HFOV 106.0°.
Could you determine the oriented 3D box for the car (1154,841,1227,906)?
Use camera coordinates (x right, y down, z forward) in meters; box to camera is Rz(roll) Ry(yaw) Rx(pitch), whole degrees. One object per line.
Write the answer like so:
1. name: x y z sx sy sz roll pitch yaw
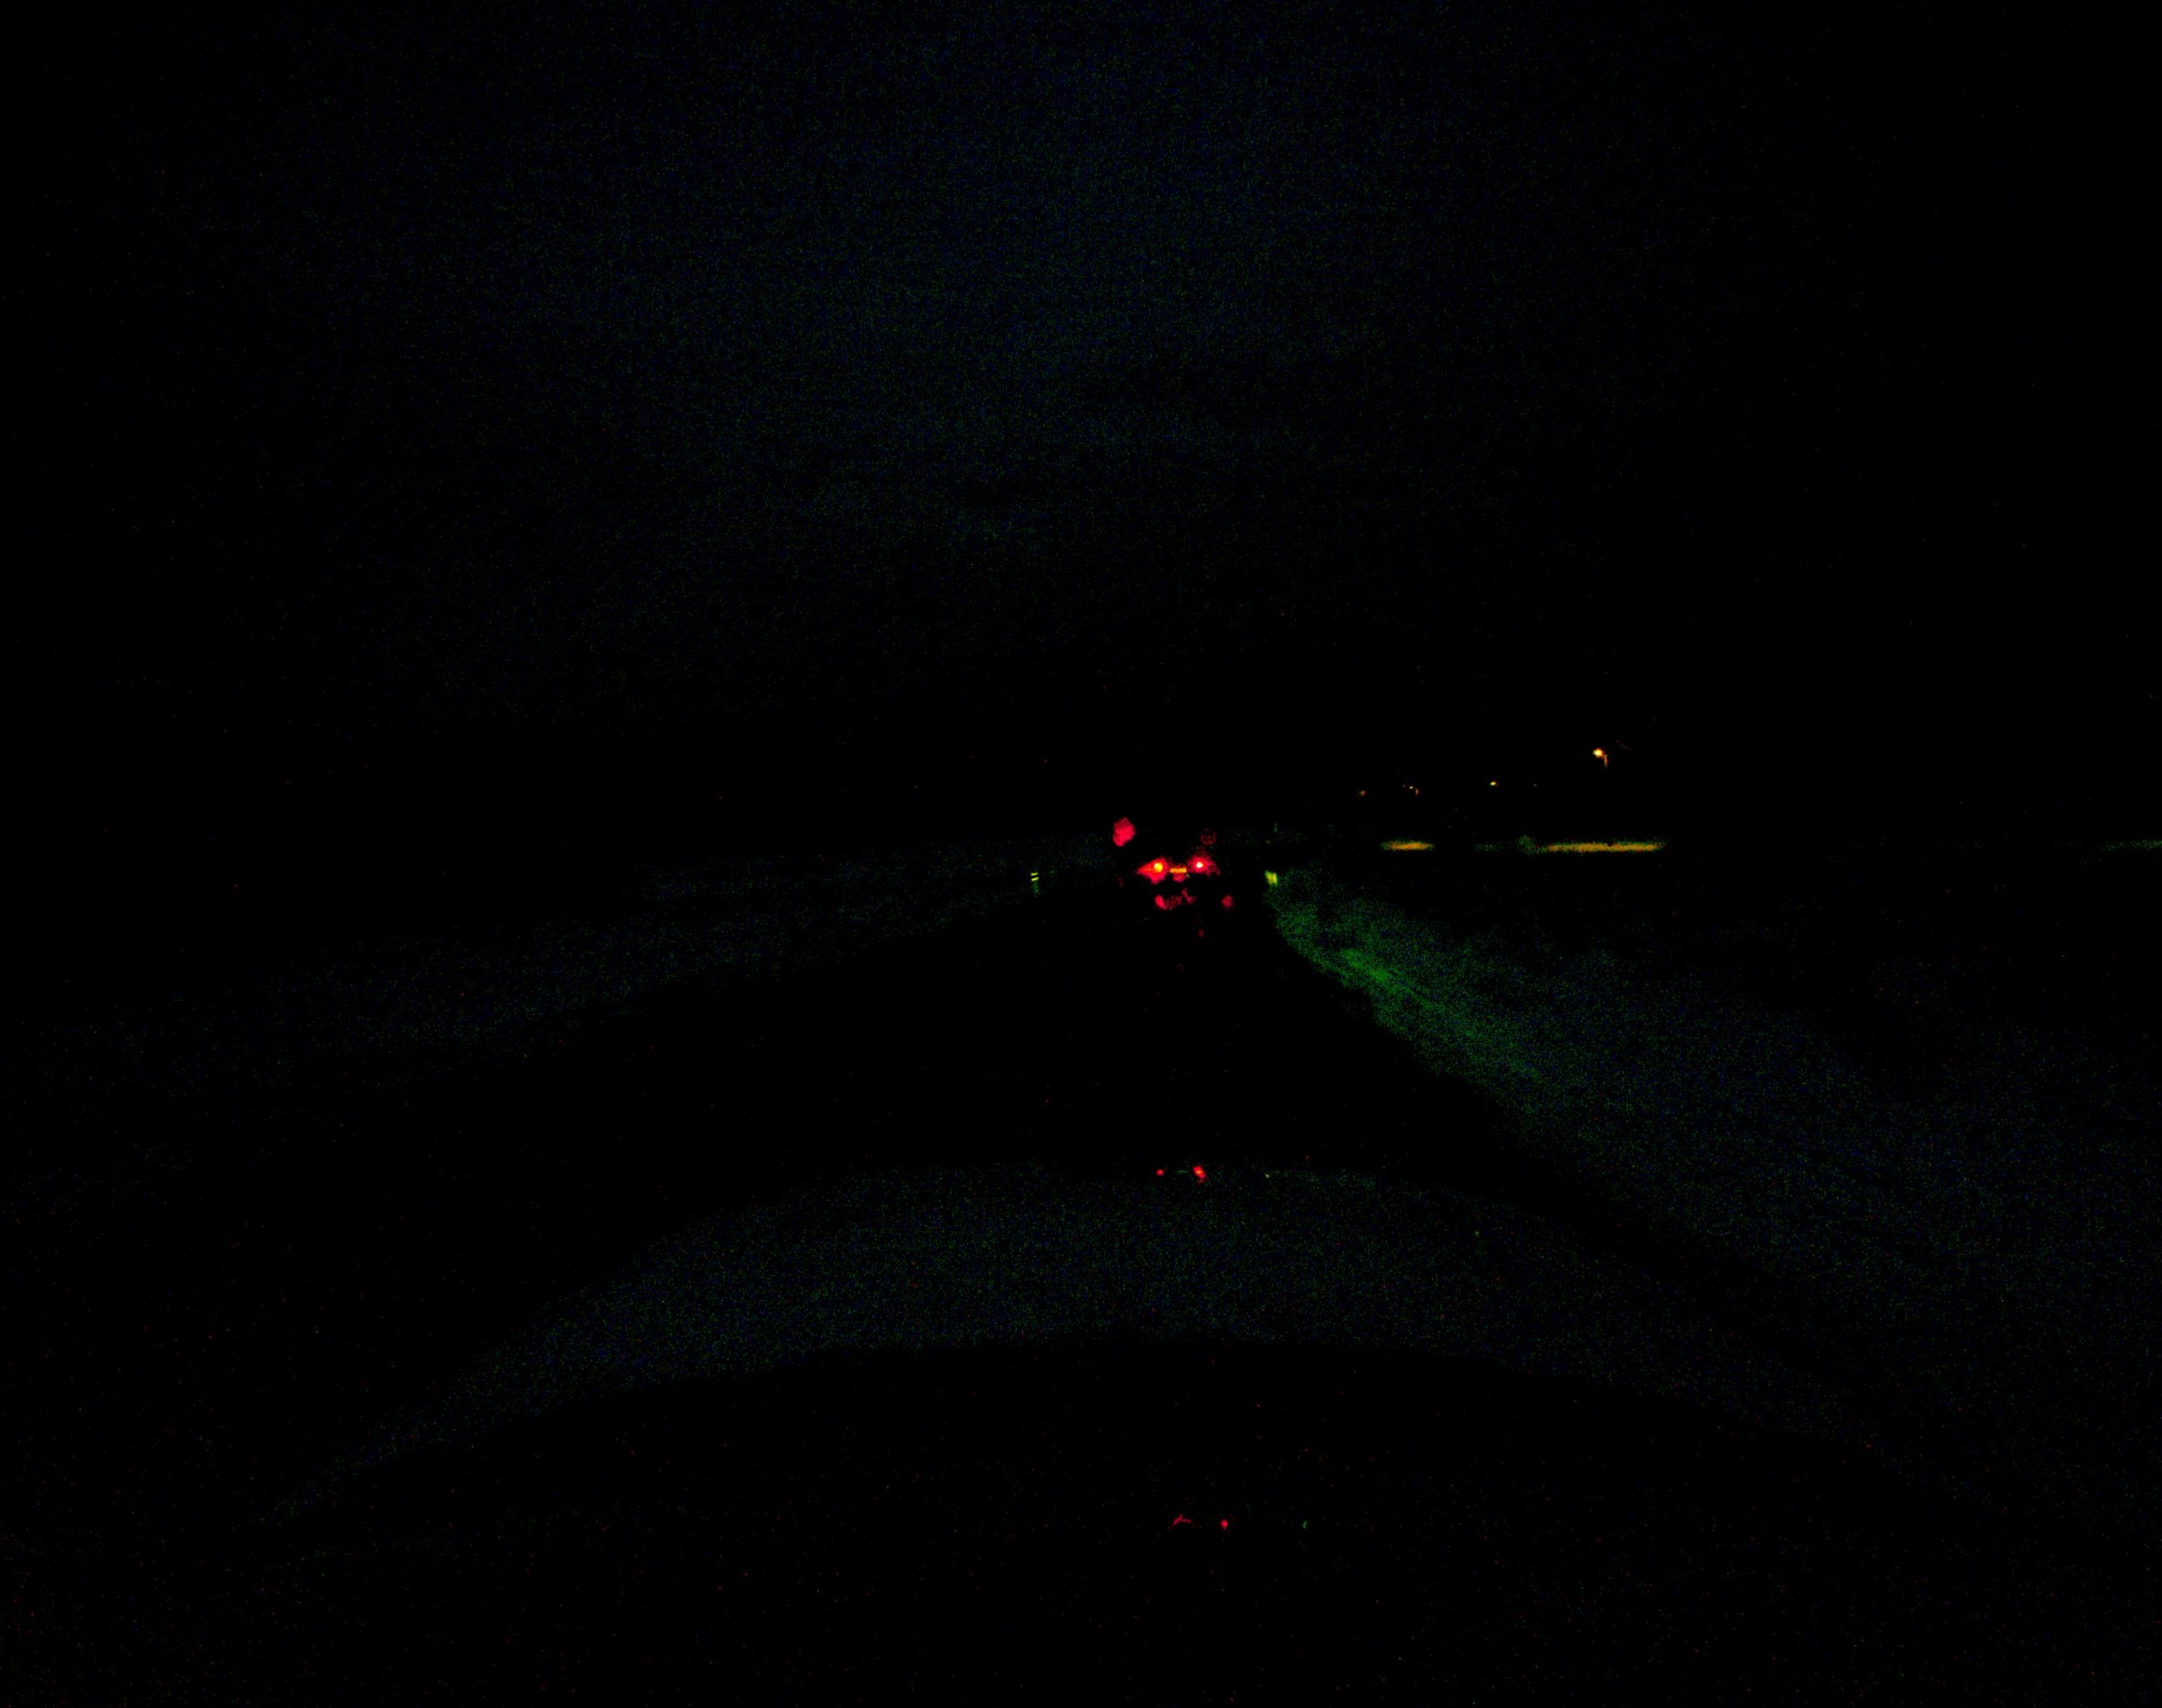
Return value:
1. car: 3.540 0.561 25.769 1.809 1.796 3.591 -4 0 13
